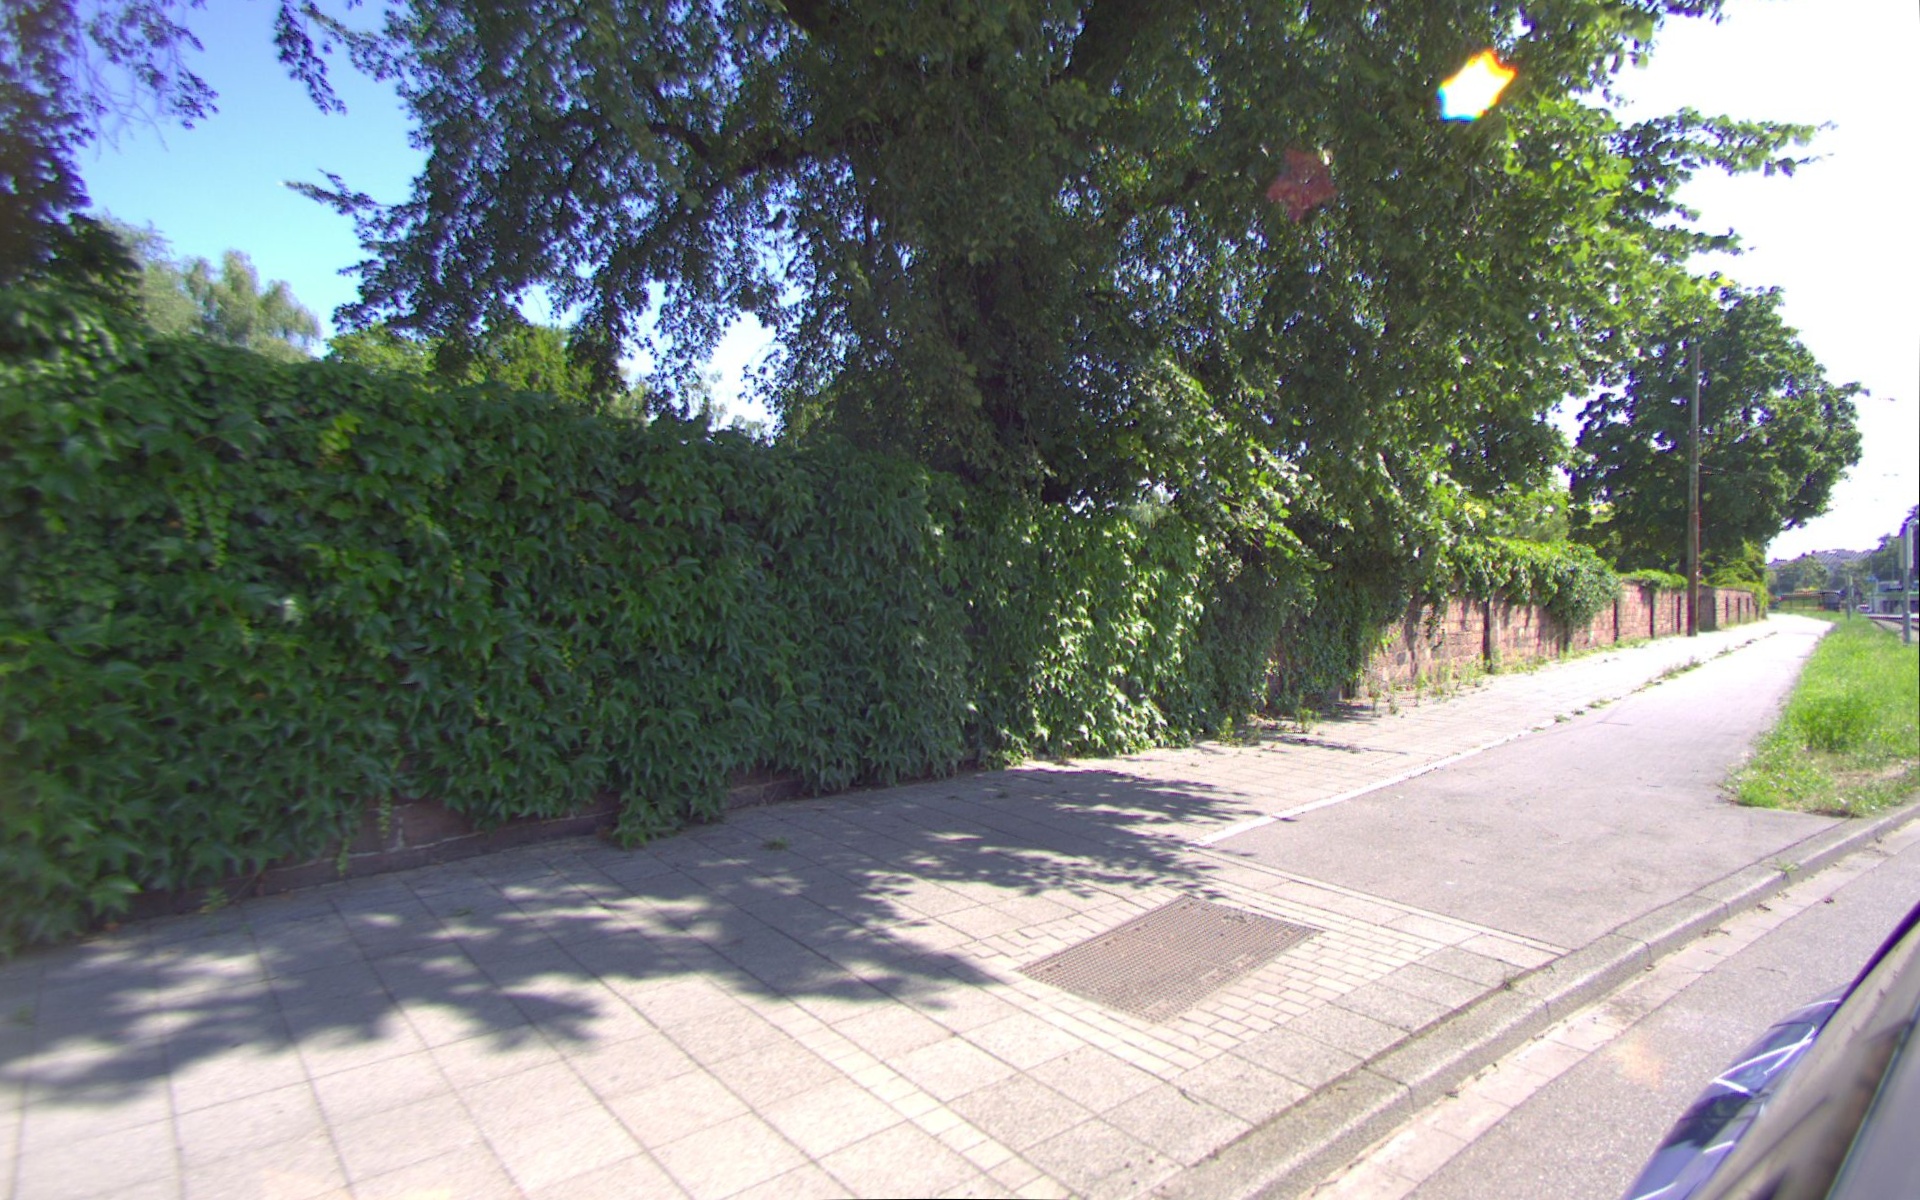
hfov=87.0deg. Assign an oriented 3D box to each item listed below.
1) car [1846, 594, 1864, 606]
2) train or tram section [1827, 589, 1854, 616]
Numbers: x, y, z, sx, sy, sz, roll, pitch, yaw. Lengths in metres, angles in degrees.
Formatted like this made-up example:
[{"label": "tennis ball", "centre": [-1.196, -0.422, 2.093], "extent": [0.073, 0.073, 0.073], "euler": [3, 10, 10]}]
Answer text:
[{"label": "car", "centre": [165.824, -0.009, 187.506], "extent": [1.986, 2.039, 3.952], "euler": [0, 0, 34]}, {"label": "train or tram section", "centre": [130.057, 0.359, 149.356], "extent": [2.667, 3.699, 15.074], "euler": [-3, -2, 42]}]
